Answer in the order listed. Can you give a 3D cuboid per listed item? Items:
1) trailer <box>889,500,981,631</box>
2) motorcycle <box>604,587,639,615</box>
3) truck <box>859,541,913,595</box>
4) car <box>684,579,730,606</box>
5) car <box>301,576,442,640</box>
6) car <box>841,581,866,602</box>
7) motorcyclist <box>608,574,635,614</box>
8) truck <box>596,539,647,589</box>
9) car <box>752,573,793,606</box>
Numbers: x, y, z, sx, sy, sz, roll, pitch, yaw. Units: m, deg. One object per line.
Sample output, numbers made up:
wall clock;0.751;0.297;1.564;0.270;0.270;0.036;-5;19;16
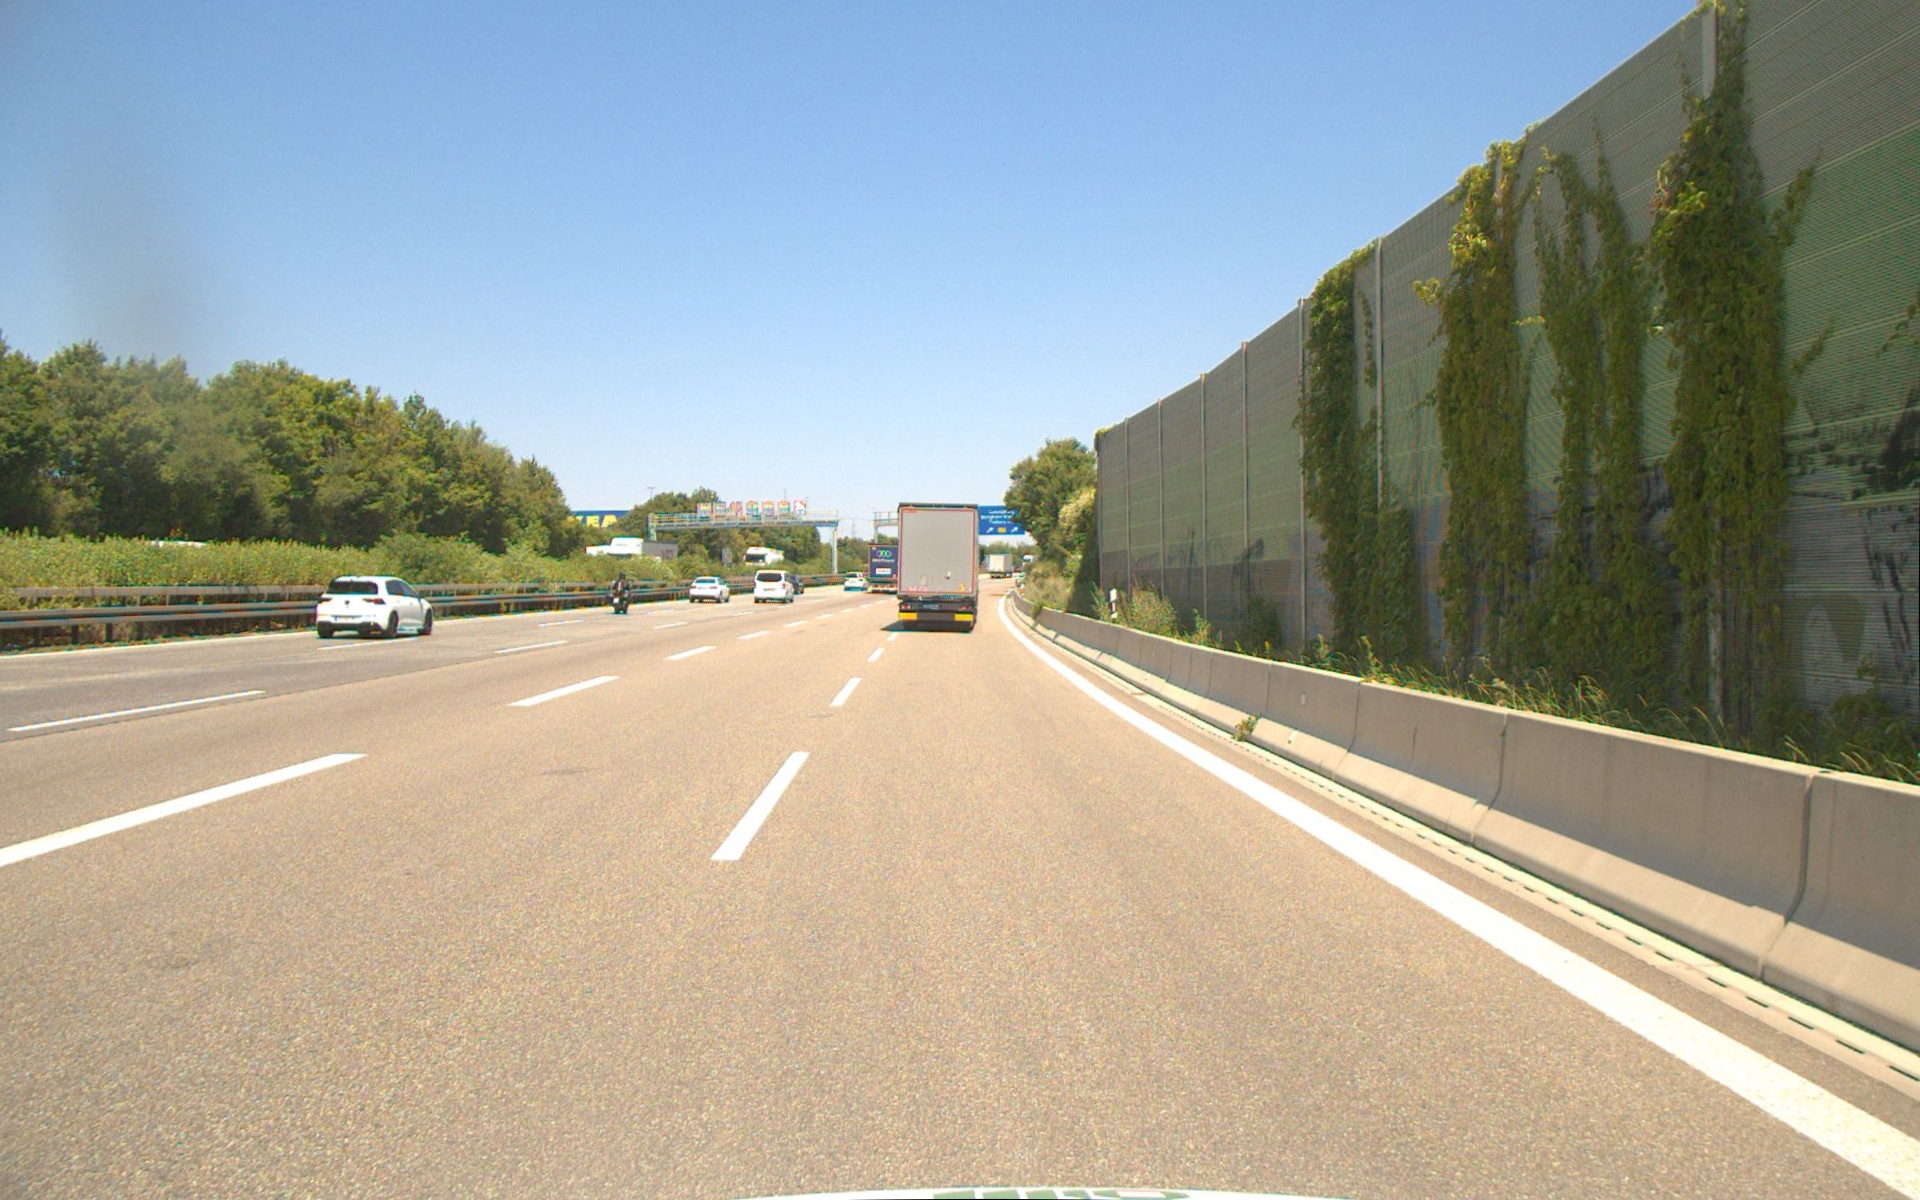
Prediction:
trailer;-0.889;-1.130;57.764;2.868;4.085;12.036;0;0;-1
motorcycle;-13.724;0.033;67.092;0.894;1.108;2.848;0;0;-2
truck;-6.215;-2.736;141.630;3.670;4.344;14.498;1;1;1
car;-14.390;-0.386;94.349;1.838;1.466;5.125;1;0;0
car;-14.177;0.161;40.128;1.745;1.465;4.668;1;0;0
car;-9.517;-0.765;148.484;1.865;1.884;4.632;0;1;1
motorcyclist;-13.728;-0.230;67.144;0.875;1.625;1.299;0;0;-2
truck;-28.858;-3.059;141.187;3.264;4.161;4.828;1;0;0
car;-10.930;-0.622;96.642;1.891;1.884;4.692;0;1;-1
